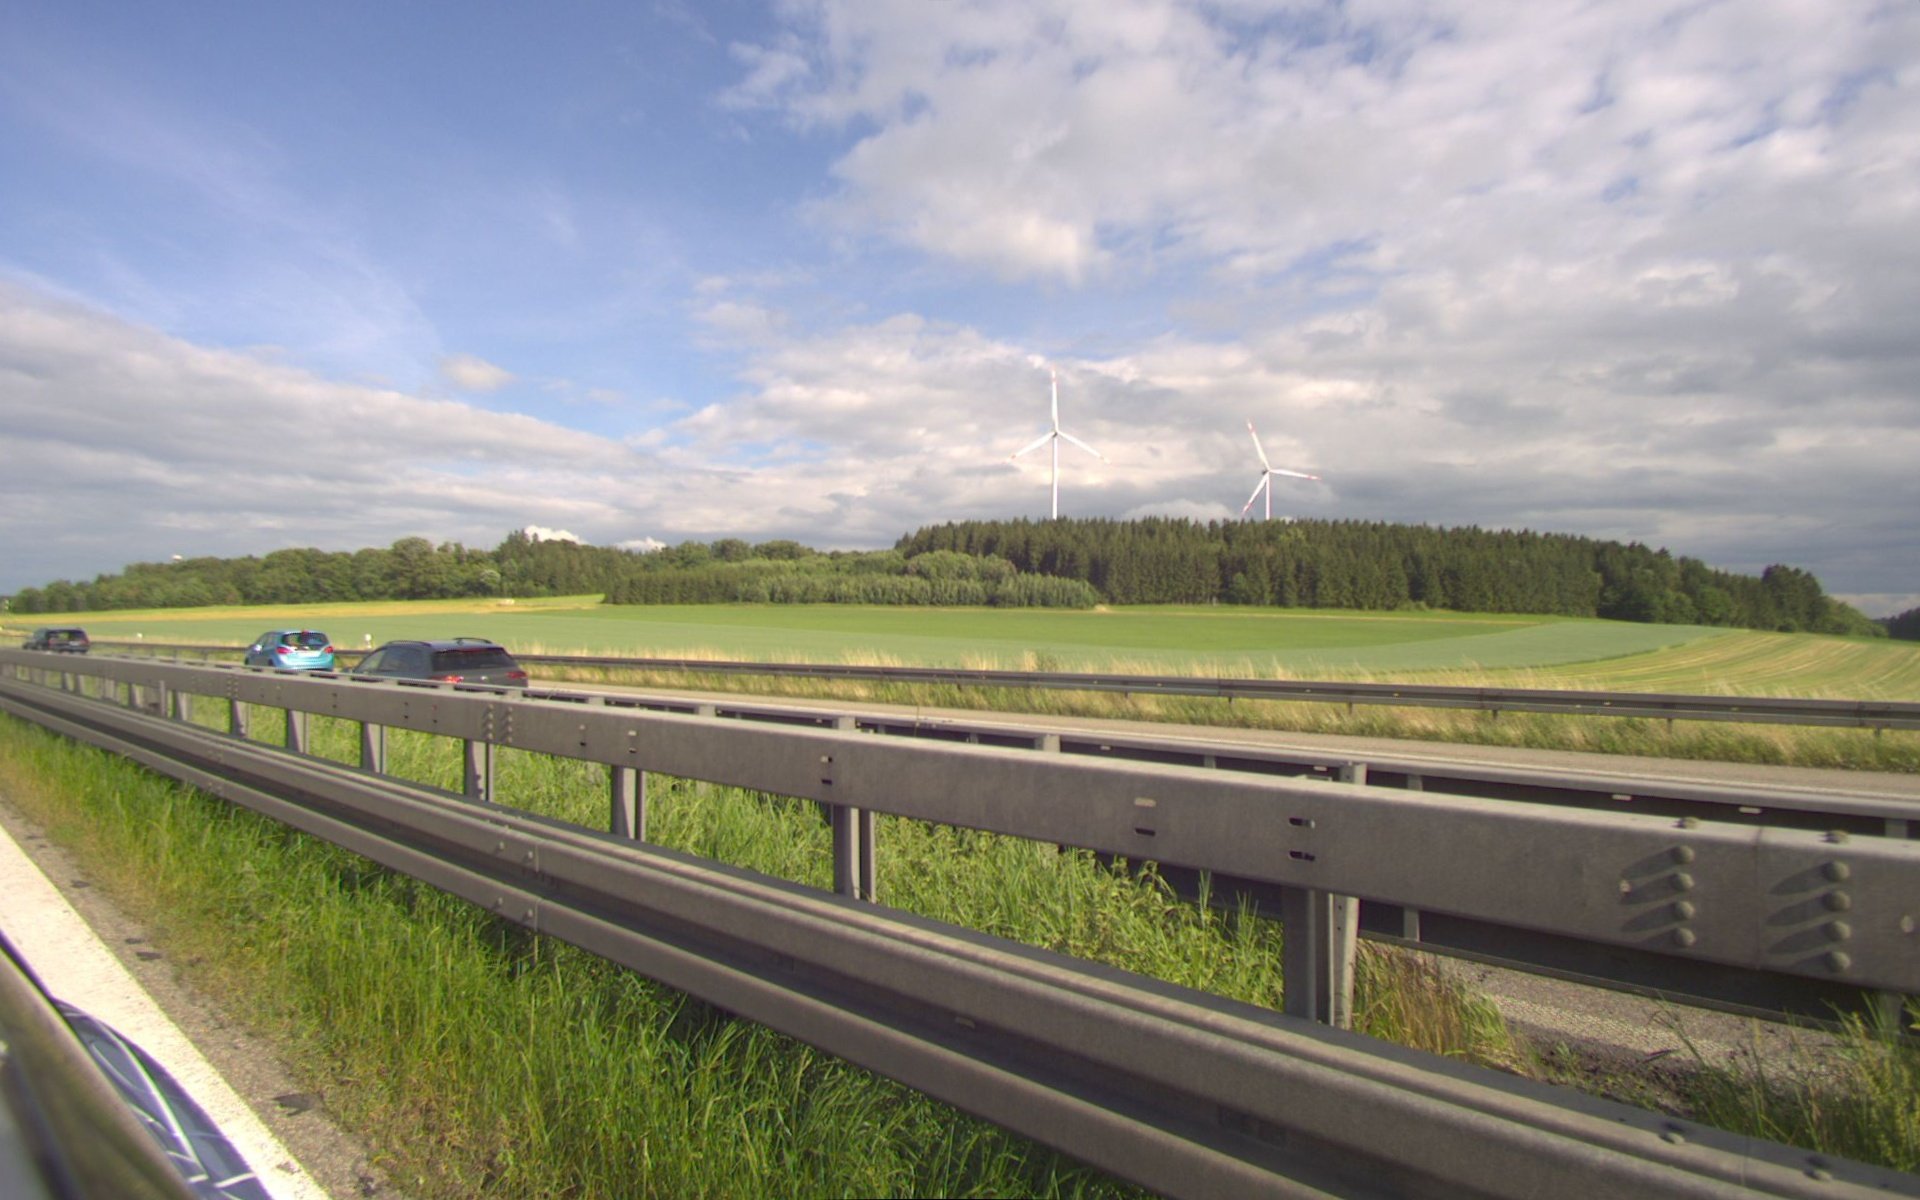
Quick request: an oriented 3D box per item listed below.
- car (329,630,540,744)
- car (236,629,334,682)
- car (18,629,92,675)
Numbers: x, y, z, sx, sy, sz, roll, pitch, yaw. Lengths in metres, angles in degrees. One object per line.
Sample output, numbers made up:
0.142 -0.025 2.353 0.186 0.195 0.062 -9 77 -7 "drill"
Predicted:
-8.422 1.270 16.069 4.157 1.526 1.581 -1 -1 41 "car"
-22.409 1.791 33.540 4.115 1.600 1.716 -1 -1 41 "car"
-38.238 2.151 42.726 4.361 1.783 1.804 -1 -1 41 "car"
